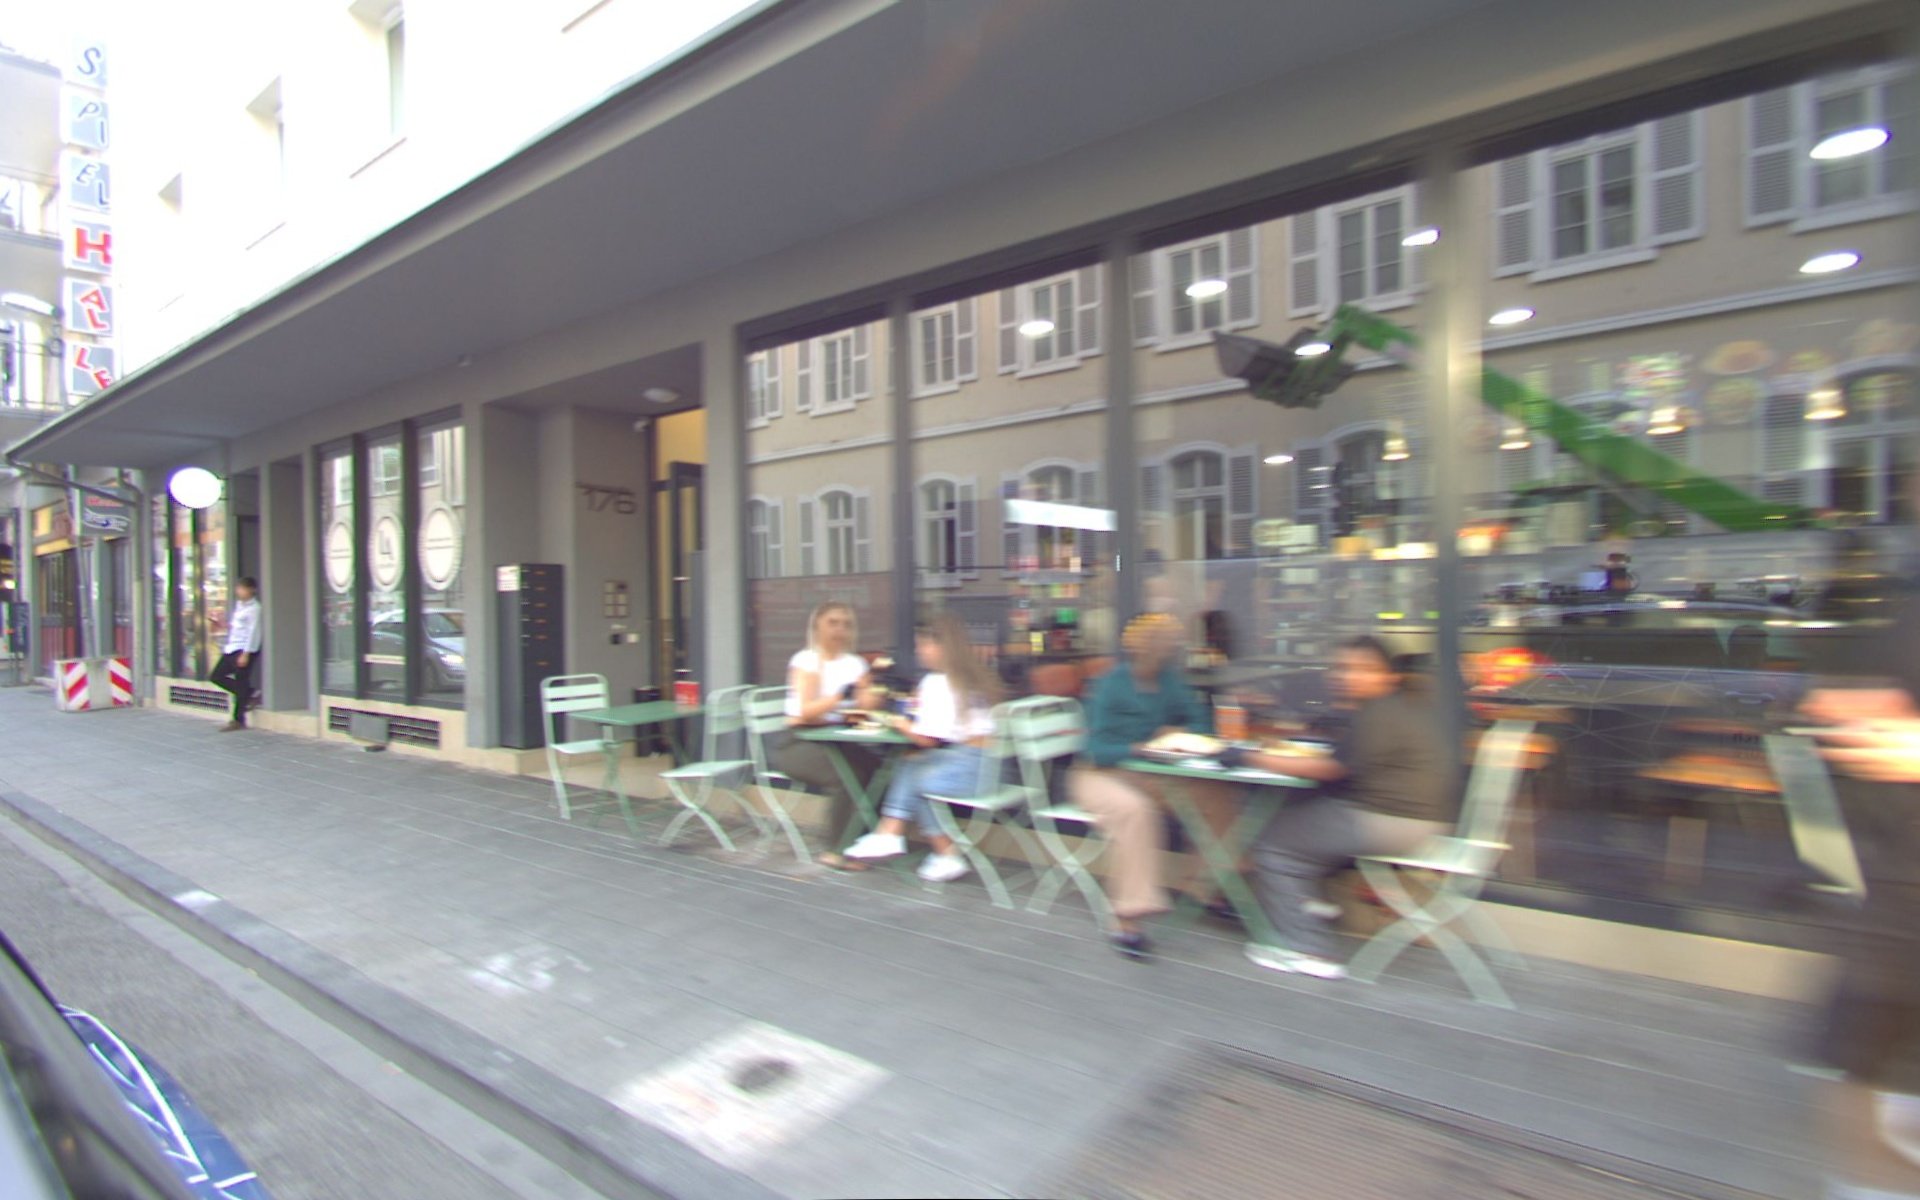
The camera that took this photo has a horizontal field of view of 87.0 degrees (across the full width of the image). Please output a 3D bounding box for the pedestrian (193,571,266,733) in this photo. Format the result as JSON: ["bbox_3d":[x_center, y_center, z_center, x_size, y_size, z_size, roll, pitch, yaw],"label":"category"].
[{"bbox_3d":[-8.570,0.597,11.872,0.561,1.848,0.526,-2,-1,32],"label":"pedestrian"}]

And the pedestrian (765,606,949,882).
[{"bbox_3d":[-0.532,0.688,5.226,0.713,1.285,0.567,-2,1,39],"label":"pedestrian"}]

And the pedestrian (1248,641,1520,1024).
[{"bbox_3d":[1.471,0.722,3.507,0.713,1.122,0.567,-2,1,39],"label":"pedestrian"}]

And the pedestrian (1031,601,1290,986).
[{"bbox_3d":[0.785,0.667,3.933,0.713,1.285,0.695,-2,1,39],"label":"pedestrian"}]

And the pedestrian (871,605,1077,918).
[{"bbox_3d":[0.065,0.682,4.667,0.713,1.285,0.567,-2,1,39],"label":"pedestrian"}]

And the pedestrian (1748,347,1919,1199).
[{"bbox_3d":[1.779,0.436,1.619,0.500,1.680,0.686,-2,1,6],"label":"pedestrian"}]
